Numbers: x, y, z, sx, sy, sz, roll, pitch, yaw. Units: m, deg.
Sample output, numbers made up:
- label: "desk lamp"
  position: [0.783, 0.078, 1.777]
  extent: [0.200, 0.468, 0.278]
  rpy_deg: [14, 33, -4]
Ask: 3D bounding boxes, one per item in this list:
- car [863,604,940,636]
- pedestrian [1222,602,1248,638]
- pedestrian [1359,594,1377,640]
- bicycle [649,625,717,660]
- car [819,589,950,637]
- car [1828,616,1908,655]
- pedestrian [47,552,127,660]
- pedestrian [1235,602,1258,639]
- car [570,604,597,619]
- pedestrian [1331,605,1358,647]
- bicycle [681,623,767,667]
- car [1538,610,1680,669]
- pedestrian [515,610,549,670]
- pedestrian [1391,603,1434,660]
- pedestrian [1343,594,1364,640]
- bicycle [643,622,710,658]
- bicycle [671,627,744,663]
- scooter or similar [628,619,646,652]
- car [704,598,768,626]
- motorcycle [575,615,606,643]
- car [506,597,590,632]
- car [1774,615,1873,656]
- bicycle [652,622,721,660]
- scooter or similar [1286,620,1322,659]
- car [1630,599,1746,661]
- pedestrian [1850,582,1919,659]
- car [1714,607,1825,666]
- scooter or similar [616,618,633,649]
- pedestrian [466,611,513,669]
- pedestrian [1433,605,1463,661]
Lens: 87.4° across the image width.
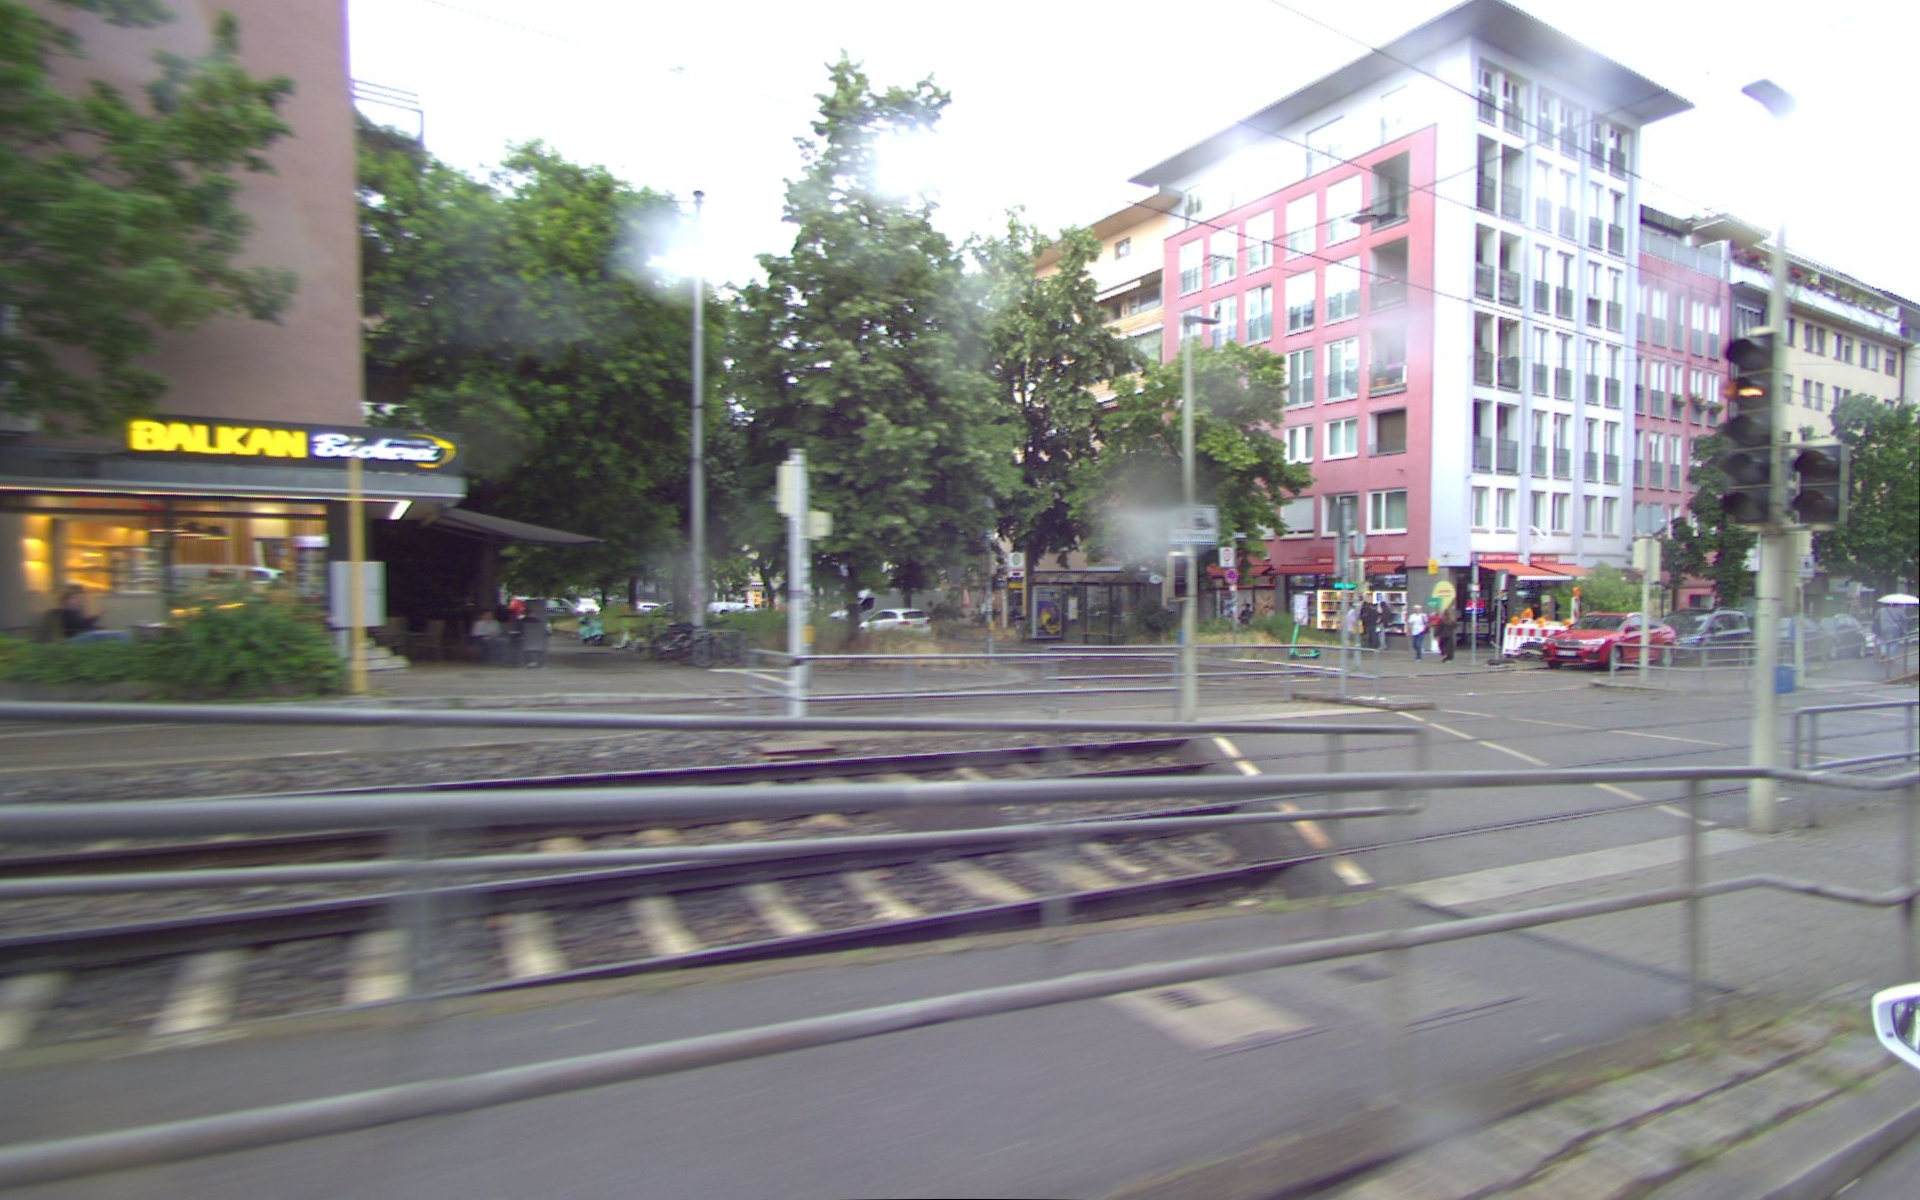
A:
- label: "car"
  position: [-2.717, 0.886, 45.758]
  extent: [1.976, 1.392, 3.969]
  rpy_deg: [1, -1, -29]
- label: "pedestrian"
  position: [10.820, 0.792, 39.590]
  extent: [0.651, 1.402, 0.686]
  rpy_deg: [1, 2, -33]
- label: "pedestrian"
  position: [14.937, 0.622, 36.763]
  extent: [0.535, 1.653, 0.574]
  rpy_deg: [2, 1, 23]
- label: "bicycle"
  position: [-7.026, 1.074, 25.546]
  extent: [1.626, 0.854, 0.336]
  rpy_deg: [1, 0, -29]
- label: "car"
  position: [-4.225, 0.755, 56.722]
  extent: [7.015, 2.568, 2.404]
  rpy_deg: [1, 0, -30]
- label: "car"
  position: [36.501, 1.399, 40.358]
  extent: [3.939, 1.455, 1.558]
  rpy_deg: [1, 0, -35]
- label: "pedestrian"
  position: [-13.385, 0.101, 15.425]
  extent: [0.808, 1.617, 0.556]
  rpy_deg: [1, 0, -30]
- label: "pedestrian"
  position: [11.367, 0.800, 39.831]
  extent: [0.644, 1.424, 0.556]
  rpy_deg: [1, 2, -33]
- label: "car"
  position: [-37.390, 1.141, 99.710]
  extent: [1.976, 1.392, 3.969]
  rpy_deg: [1, -1, -29]
- label: "pedestrian"
  position: [13.986, 0.934, 36.531]
  extent: [0.649, 1.481, 0.635]
  rpy_deg: [1, 2, -33]
- label: "bicycle"
  position: [-5.349, 1.017, 22.830]
  extent: [1.852, 0.972, 0.477]
  rpy_deg: [1, -1, -32]
- label: "car"
  position: [19.227, 1.108, 29.695]
  extent: [4.499, 1.633, 1.717]
  rpy_deg: [0, 0, -31]
- label: "pedestrian"
  position: [-8.752, 0.804, 20.554]
  extent: [0.600, 1.193, 0.673]
  rpy_deg: [1, 0, -26]
- label: "pedestrian"
  position: [14.185, 0.980, 31.495]
  extent: [0.978, 1.720, 0.812]
  rpy_deg: [1, 2, -40]
- label: "pedestrian"
  position: [14.660, 0.623, 37.442]
  extent: [0.570, 1.653, 0.609]
  rpy_deg: [3, 2, 33]
- label: "bicycle"
  position: [-7.312, 1.041, 25.972]
  extent: [1.626, 0.915, 0.337]
  rpy_deg: [1, 0, -29]
- label: "bicycle"
  position: [-5.930, 1.058, 23.657]
  extent: [1.628, 0.827, 0.337]
  rpy_deg: [1, -1, -32]
- label: "scooter or similar"
  position: [-9.987, 1.091, 31.045]
  extent: [0.280, 0.994, 1.123]
  rpy_deg: [1, 0, -30]
- label: "car"
  position: [-17.256, 0.911, 77.470]
  extent: [4.395, 2.056, 2.082]
  rpy_deg: [1, -1, -30]
- label: "motorcycle"
  position: [-13.979, 1.079, 37.994]
  extent: [0.739, 1.021, 1.840]
  rpy_deg: [1, 0, -32]
- label: "car"
  position: [-26.822, 0.945, 65.482]
  extent: [4.812, 2.239, 1.891]
  rpy_deg: [1, 0, -34]
- label: "car"
  position: [32.601, 1.308, 37.903]
  extent: [4.276, 1.455, 1.829]
  rpy_deg: [1, 0, -35]
- label: "bicycle"
  position: [-6.851, 1.033, 25.171]
  extent: [1.626, 0.923, 0.337]
  rpy_deg: [1, 0, -29]
- label: "scooter or similar"
  position: [10.955, 1.263, 31.988]
  extent: [1.198, 1.207, 0.387]
  rpy_deg: [1, 0, -31]
- label: "car"
  position: [23.567, 0.948, 32.471]
  extent: [4.276, 1.883, 1.696]
  rpy_deg: [1, 0, -34]
- label: "pedestrian"
  position: [25.202, 0.553, 27.346]
  extent: [1.368, 2.040, 1.110]
  rpy_deg: [1, 0, -32]
- label: "car"
  position: [27.824, 1.215, 34.495]
  extent: [4.335, 1.883, 1.791]
  rpy_deg: [1, 0, -34]
- label: "scooter or similar"
  position: [-11.067, 1.095, 33.134]
  extent: [0.280, 0.994, 1.123]
  rpy_deg: [1, 0, -30]
- label: "pedestrian"
  position: [-10.007, 0.838, 21.381]
  extent: [0.665, 1.193, 0.607]
  rpy_deg: [1, 0, 27]
- label: "pedestrian"
  position: [14.970, 0.986, 30.808]
  extent: [0.792, 1.654, 0.881]
  rpy_deg: [0, 2, 25]
